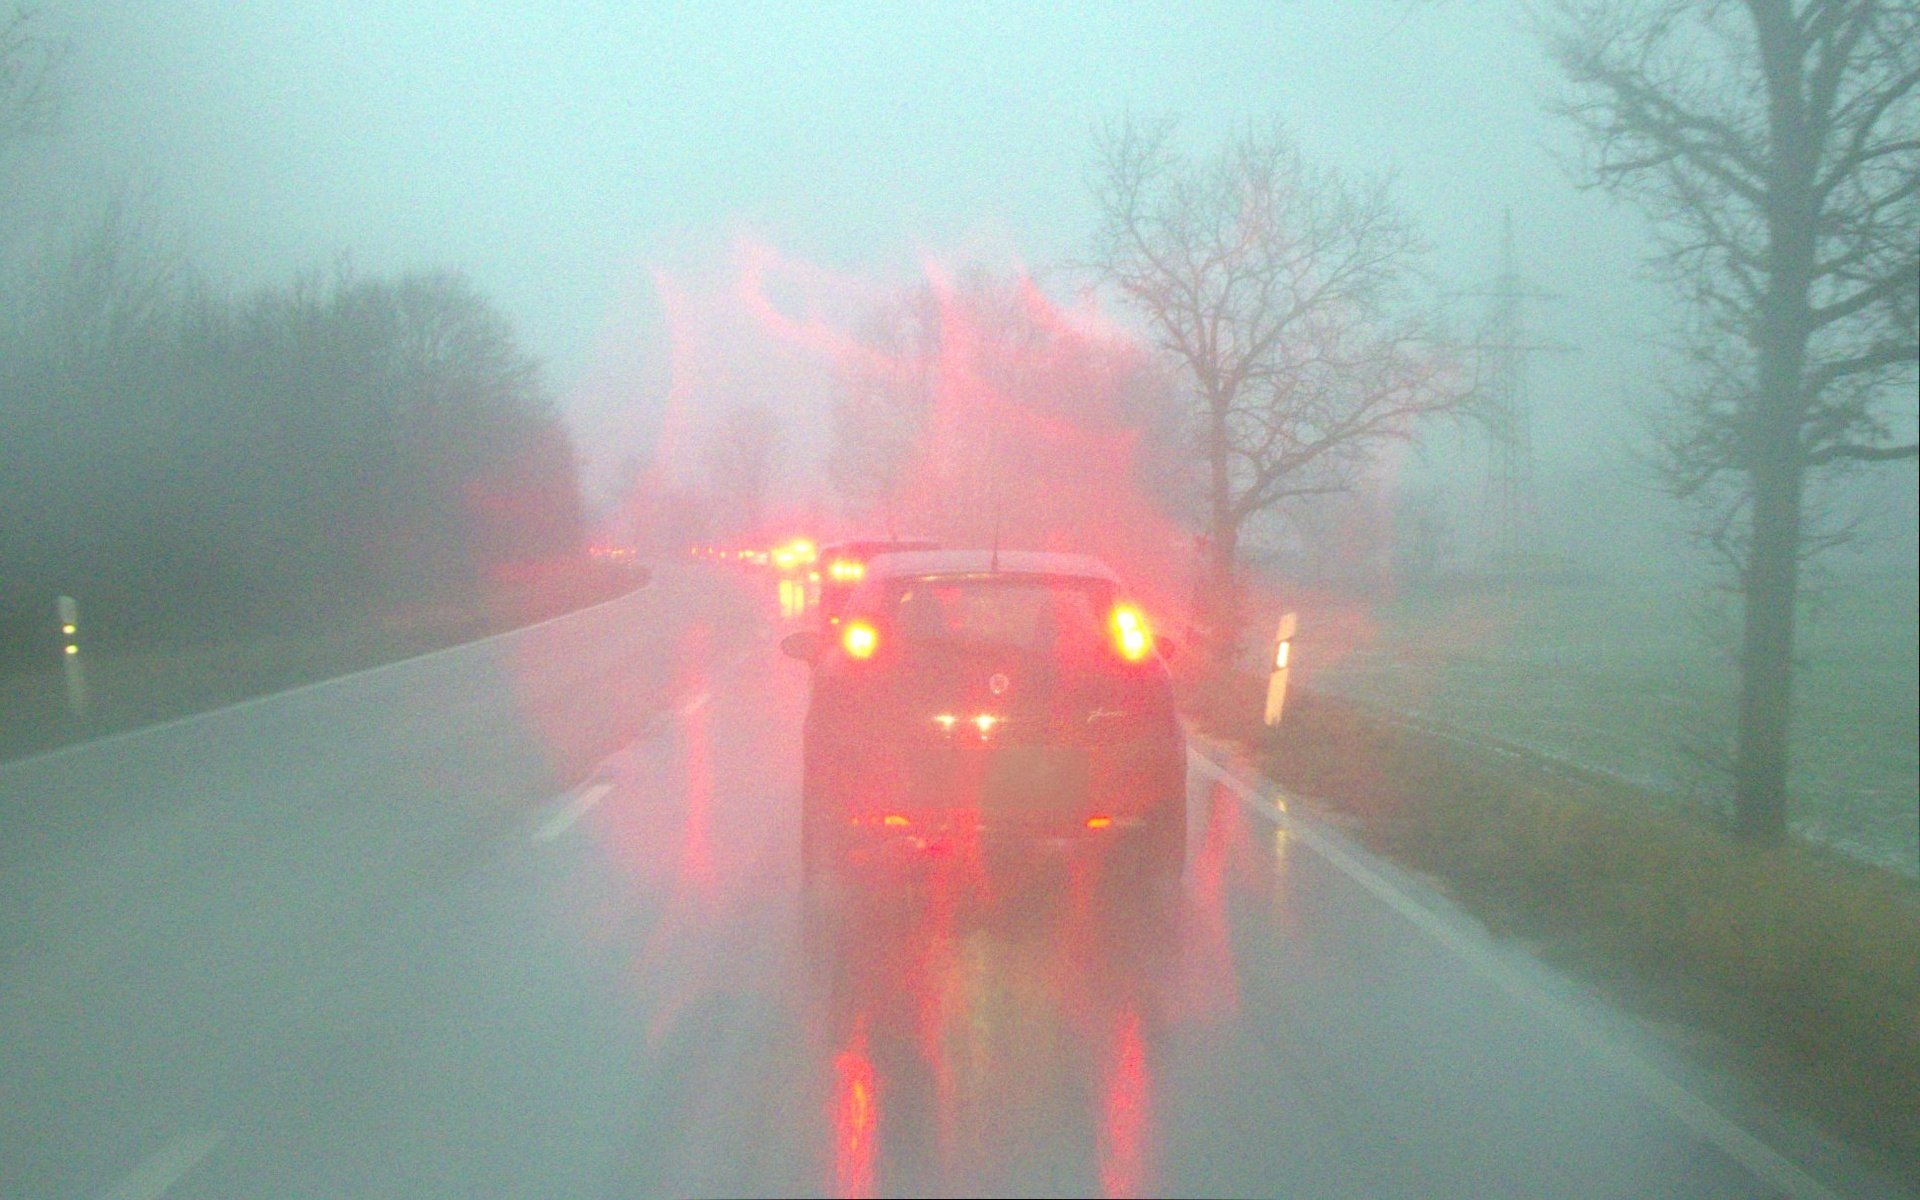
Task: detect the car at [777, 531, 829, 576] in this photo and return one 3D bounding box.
[{"bbox_3d":[-6.242,-1.864,137.099,1.863,1.694,4.468,1,1,0],"label":"car"}]

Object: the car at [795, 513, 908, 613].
[{"bbox_3d":[-1.895,-0.691,61.125,1.863,1.694,4.468,1,1,0],"label":"car"}]

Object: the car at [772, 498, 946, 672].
[{"bbox_3d":[-1.189,-0.213,42.095,1.852,2.007,4.000,1,1,2],"label":"car"}]

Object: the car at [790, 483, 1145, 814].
[{"bbox_3d":[0.088,0.179,16.306,1.500,1.393,3.199,1,1,2],"label":"car"}]
